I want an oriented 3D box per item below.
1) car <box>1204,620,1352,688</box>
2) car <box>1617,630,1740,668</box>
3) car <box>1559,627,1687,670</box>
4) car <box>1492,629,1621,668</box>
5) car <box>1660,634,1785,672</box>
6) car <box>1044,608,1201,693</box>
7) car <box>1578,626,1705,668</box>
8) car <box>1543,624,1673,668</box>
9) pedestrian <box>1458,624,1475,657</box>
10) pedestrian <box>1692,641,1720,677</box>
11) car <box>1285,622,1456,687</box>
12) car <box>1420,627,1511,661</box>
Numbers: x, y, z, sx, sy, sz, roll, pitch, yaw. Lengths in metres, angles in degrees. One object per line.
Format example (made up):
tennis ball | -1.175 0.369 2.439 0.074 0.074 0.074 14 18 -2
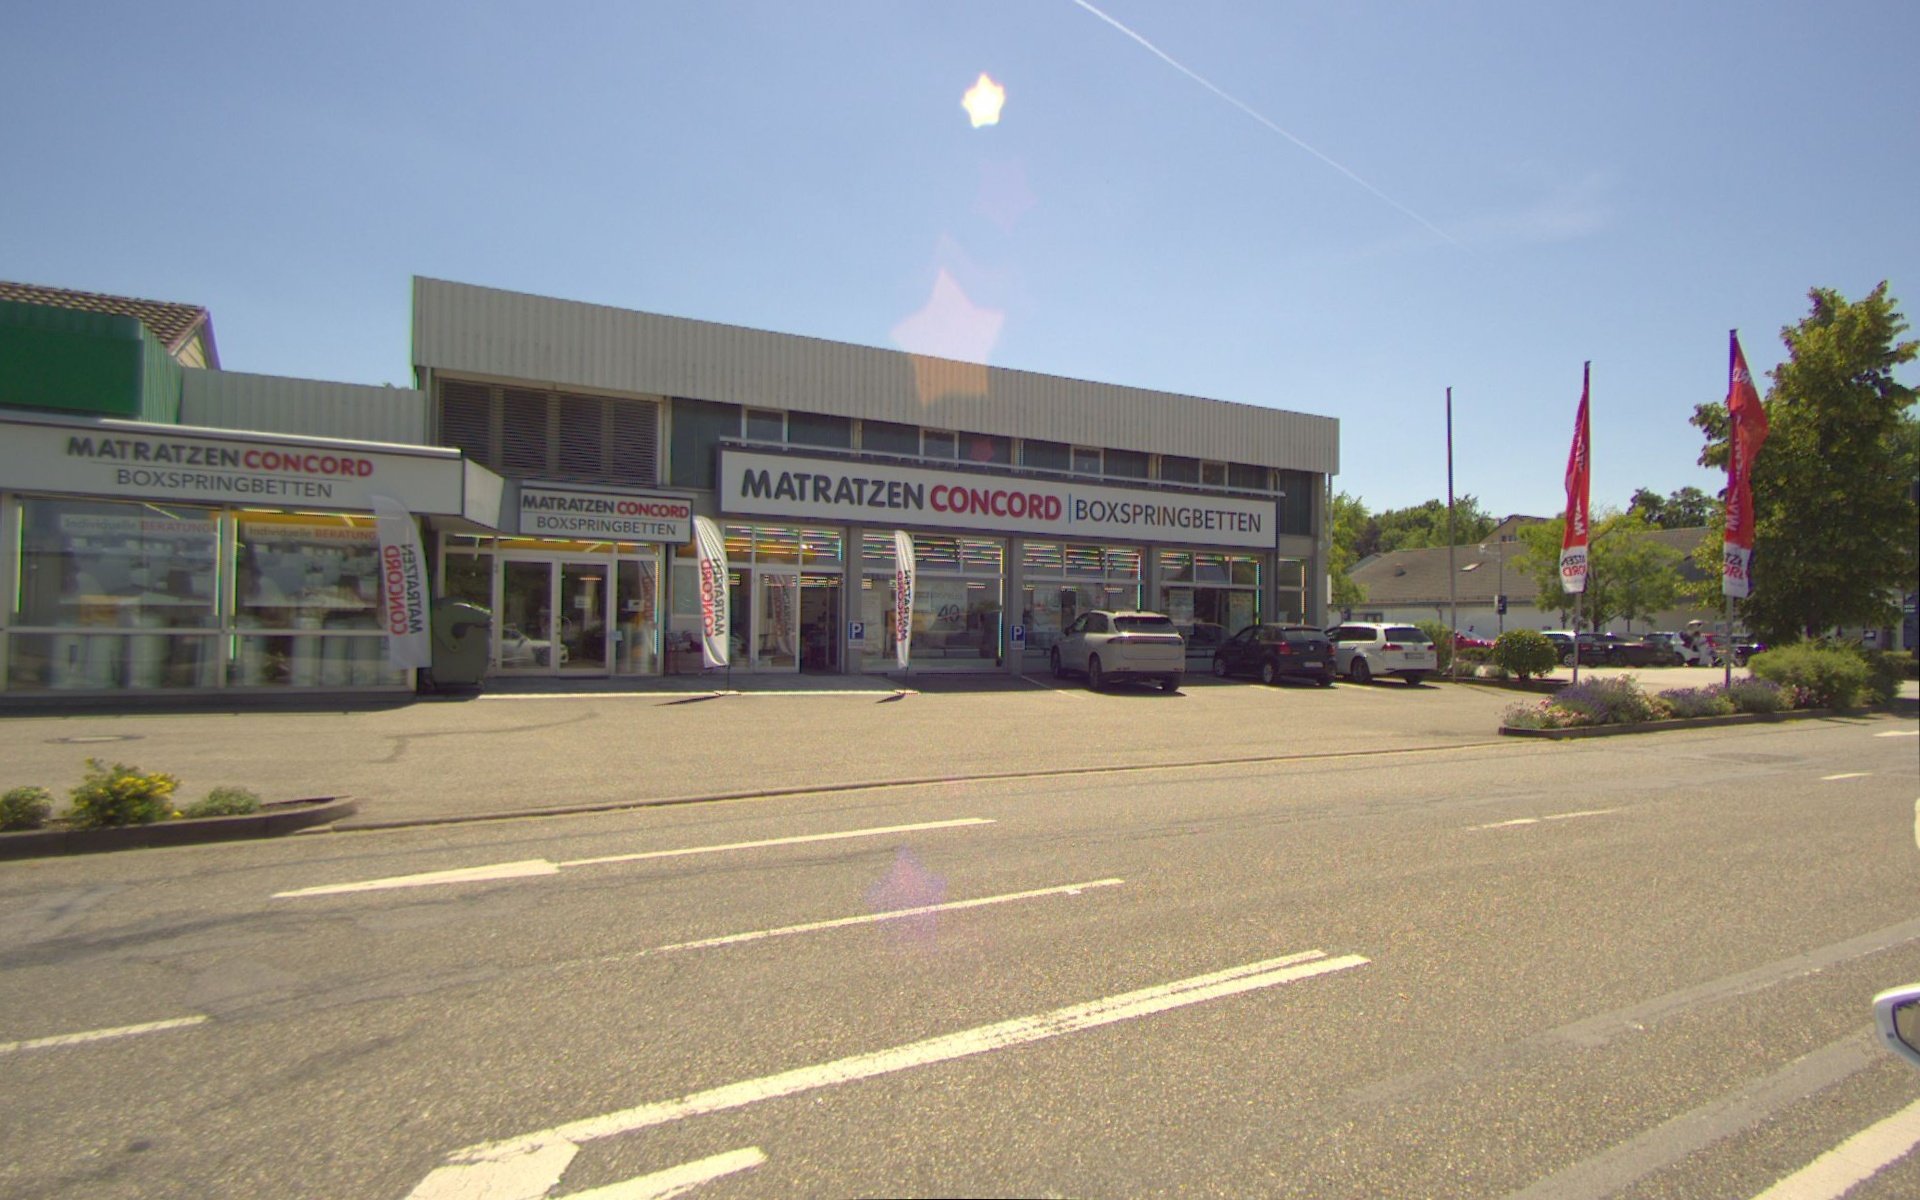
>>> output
car | 7.753 1.280 24.857 1.965 1.494 3.630 1 -1 -12
car | 33.166 2.246 46.489 1.806 1.550 4.291 3 -1 -30
car | 28.838 2.091 43.802 1.893 1.627 4.284 3 -1 -34
car | 24.398 1.949 41.211 1.752 1.387 4.208 3 -1 -34
car | 35.574 2.441 46.998 1.806 1.550 4.291 3 -1 -30
car | 3.475 1.048 22.415 1.965 1.686 4.535 1 -1 -12
car | 30.940 2.126 45.703 2.090 1.677 4.291 3 -1 -30
car | 26.856 1.897 41.766 1.752 1.610 4.208 3 -1 -34
pedestrian | 29.013 2.310 57.493 0.738 1.830 0.772 2 0 22
pedestrian | 32.100 2.529 43.232 0.877 1.502 0.805 2 -1 40
car | 10.394 1.331 25.798 1.946 1.466 4.185 1 -1 -14
car | 24.104 2.087 47.980 1.631 1.506 3.589 2 -1 -29
